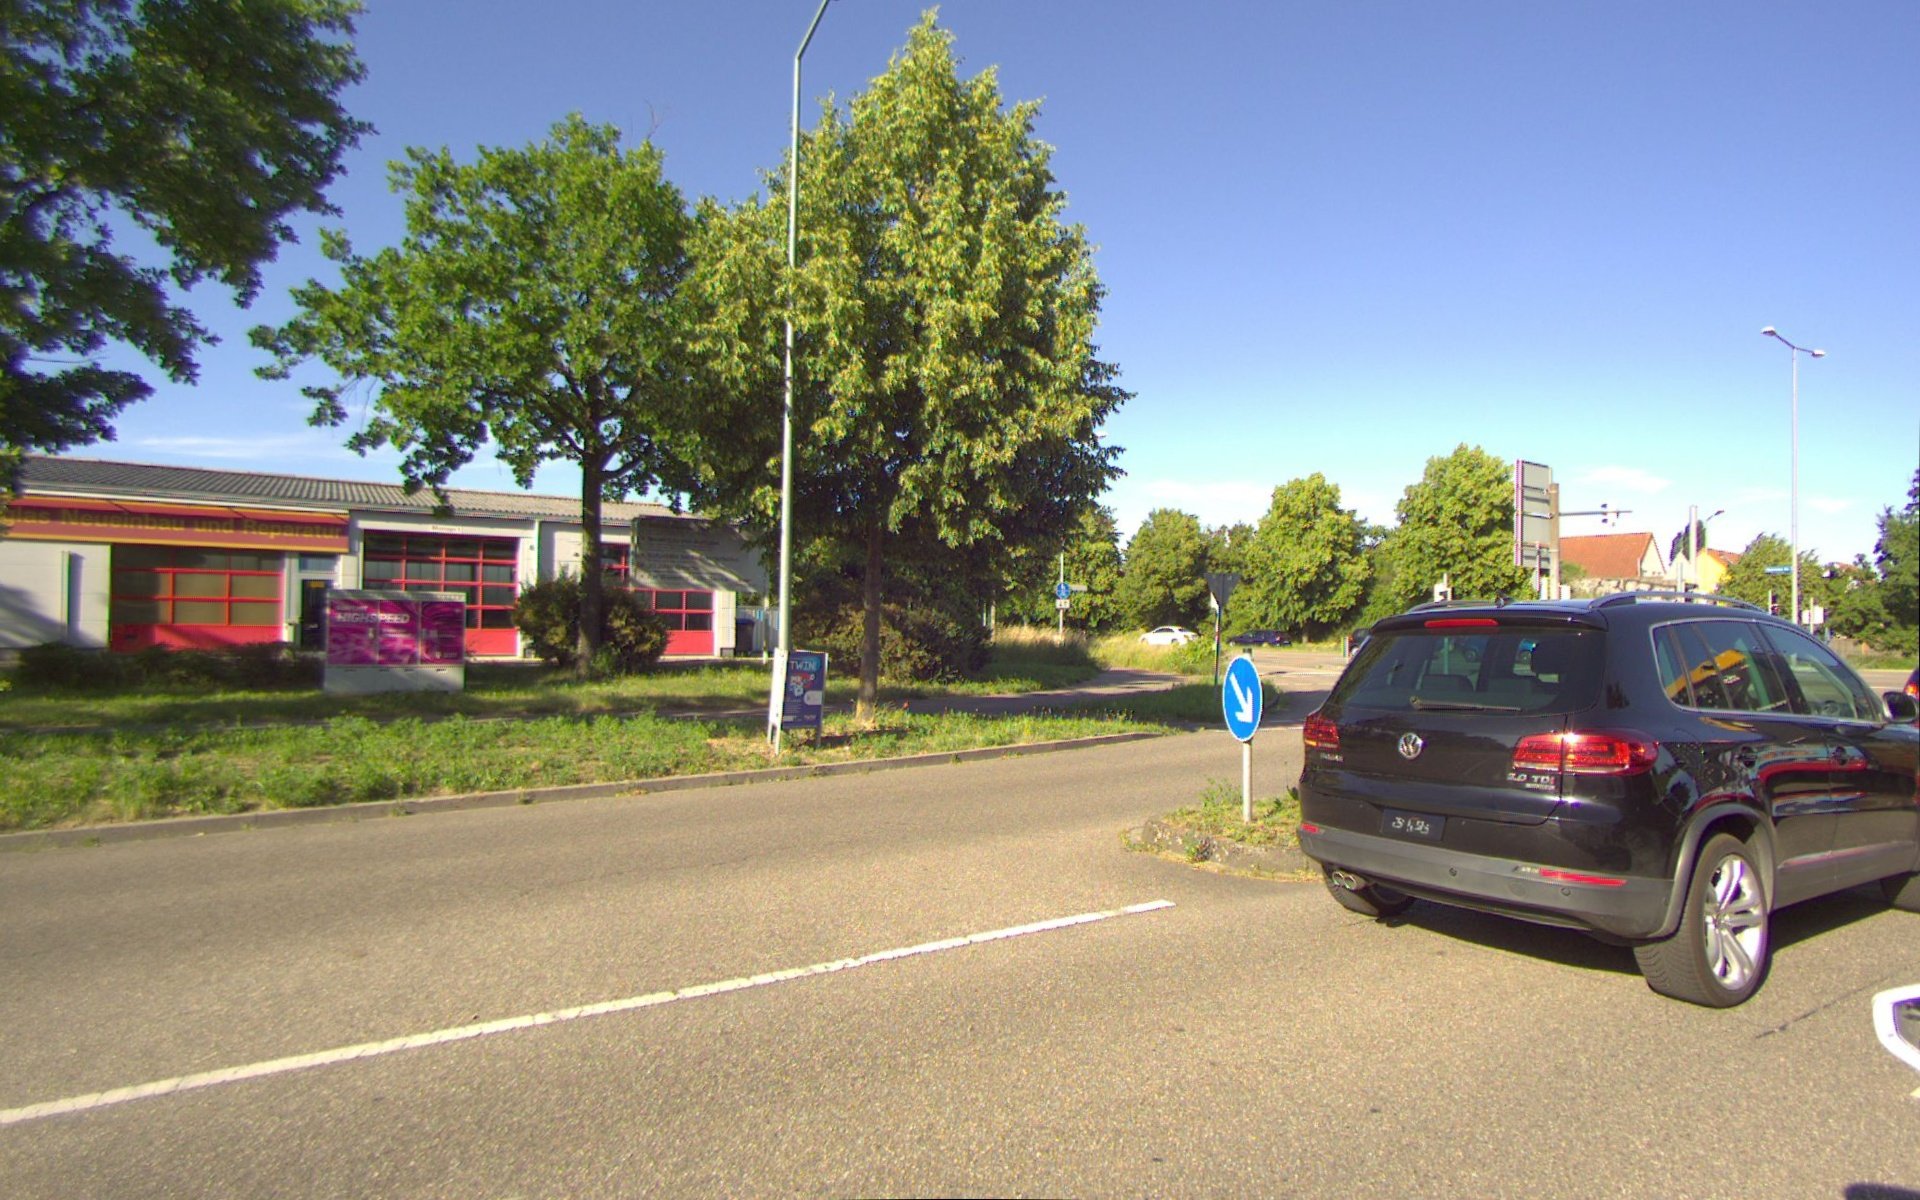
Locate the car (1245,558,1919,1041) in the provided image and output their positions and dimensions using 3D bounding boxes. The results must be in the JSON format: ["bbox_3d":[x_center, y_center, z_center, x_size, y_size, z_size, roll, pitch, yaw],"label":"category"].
[{"bbox_3d":[3.603,0.806,5.352,3.957,1.695,1.812,2,-3,-31],"label":"car"}]

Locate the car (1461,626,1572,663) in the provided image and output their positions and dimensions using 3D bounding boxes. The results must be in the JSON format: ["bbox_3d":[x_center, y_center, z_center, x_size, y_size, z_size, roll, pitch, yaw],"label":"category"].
[{"bbox_3d":[23.919,1.886,43.250,1.668,1.403,3.817,2,-1,-38],"label":"car"}]

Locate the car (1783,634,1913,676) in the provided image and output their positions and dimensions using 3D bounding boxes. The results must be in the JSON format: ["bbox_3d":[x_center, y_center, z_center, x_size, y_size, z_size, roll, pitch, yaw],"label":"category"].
[{"bbox_3d":[38.484,2.346,43.603,1.678,1.633,3.961,1,-1,-35],"label":"car"}]

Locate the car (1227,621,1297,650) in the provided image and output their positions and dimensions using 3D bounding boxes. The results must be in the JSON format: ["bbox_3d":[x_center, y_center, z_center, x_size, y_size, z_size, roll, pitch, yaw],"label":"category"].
[{"bbox_3d":[19.593,2.299,65.345,1.982,1.737,3.957,2,-1,-37],"label":"car"}]

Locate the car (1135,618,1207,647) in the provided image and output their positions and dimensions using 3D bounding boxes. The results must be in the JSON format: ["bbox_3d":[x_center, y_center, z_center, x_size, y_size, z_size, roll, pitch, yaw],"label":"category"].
[{"bbox_3d":[14.050,2.128,66.973,1.982,1.737,4.493,2,-1,-37],"label":"car"}]

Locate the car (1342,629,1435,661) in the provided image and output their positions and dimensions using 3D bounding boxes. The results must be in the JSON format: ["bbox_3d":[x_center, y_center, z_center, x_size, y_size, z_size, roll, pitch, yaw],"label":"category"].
[{"bbox_3d":[20.335,2.123,47.806,1.494,1.330,3.817,2,-1,-38],"label":"car"}]

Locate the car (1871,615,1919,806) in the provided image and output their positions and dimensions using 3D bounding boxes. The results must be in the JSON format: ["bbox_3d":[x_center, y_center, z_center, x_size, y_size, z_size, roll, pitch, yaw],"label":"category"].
[{"bbox_3d":[10.248,0.950,9.199,3.986,1.642,1.745,0,-1,-31],"label":"car"}]
